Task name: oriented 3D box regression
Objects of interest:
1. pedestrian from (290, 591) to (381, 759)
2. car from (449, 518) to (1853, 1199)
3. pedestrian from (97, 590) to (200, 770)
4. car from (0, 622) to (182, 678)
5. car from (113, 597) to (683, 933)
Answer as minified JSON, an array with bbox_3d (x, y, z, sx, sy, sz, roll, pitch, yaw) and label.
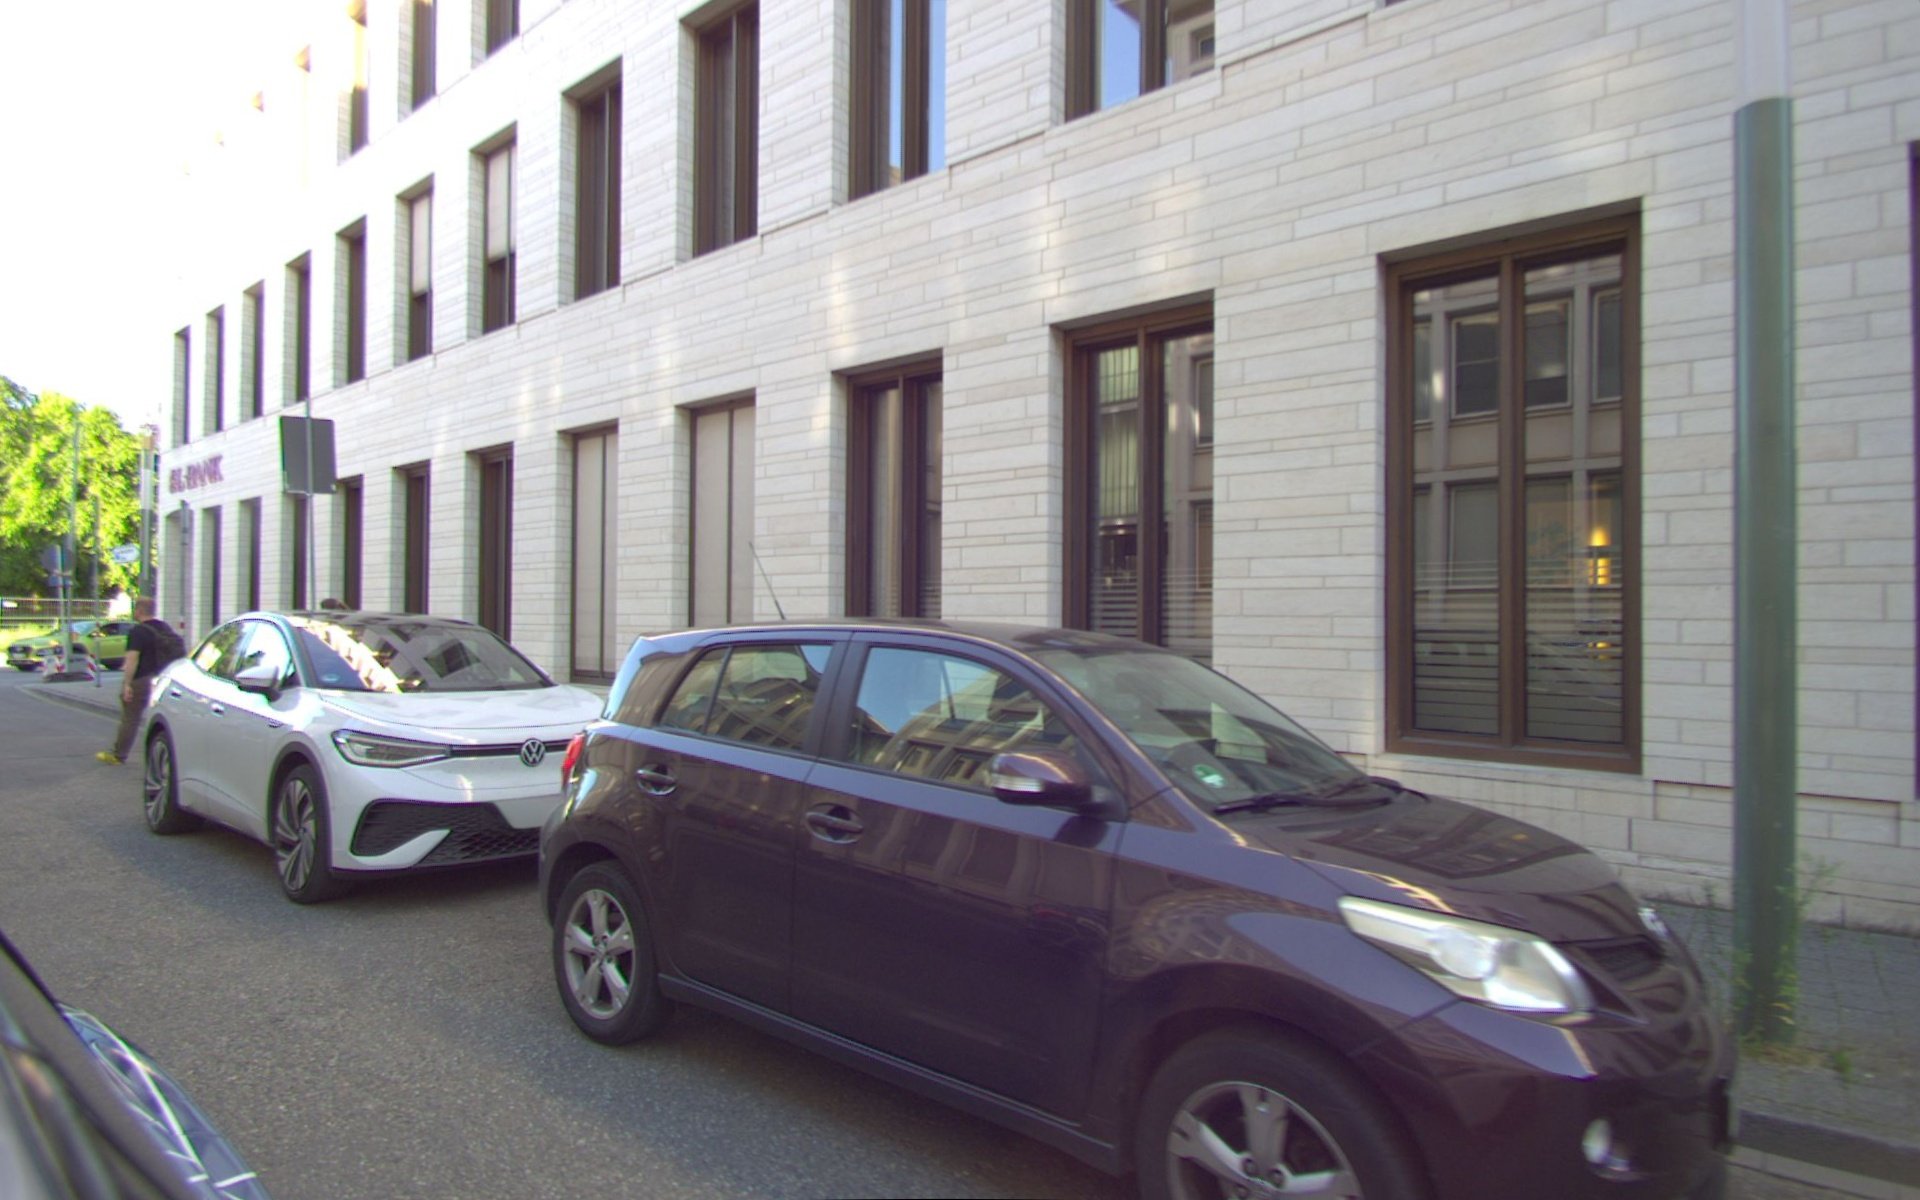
[{"bbox_3d":[-7.021,0.802,11.374,0.816,1.803,0.637,0,0,39],"label":"pedestrian"},{"bbox_3d":[0.155,0.714,3.486,4.258,1.553,1.805,-1,-2,38],"label":"car"},{"bbox_3d":[-8.482,0.814,10.585,0.575,1.803,0.635,0,-4,39],"label":"pedestrian"},{"bbox_3d":[-26.472,1.455,30.642,1.979,1.470,4.420,0,0,12],"label":"car"},{"bbox_3d":[-3.971,0.844,6.817,4.441,1.553,1.804,-1,-3,39],"label":"car"}]
